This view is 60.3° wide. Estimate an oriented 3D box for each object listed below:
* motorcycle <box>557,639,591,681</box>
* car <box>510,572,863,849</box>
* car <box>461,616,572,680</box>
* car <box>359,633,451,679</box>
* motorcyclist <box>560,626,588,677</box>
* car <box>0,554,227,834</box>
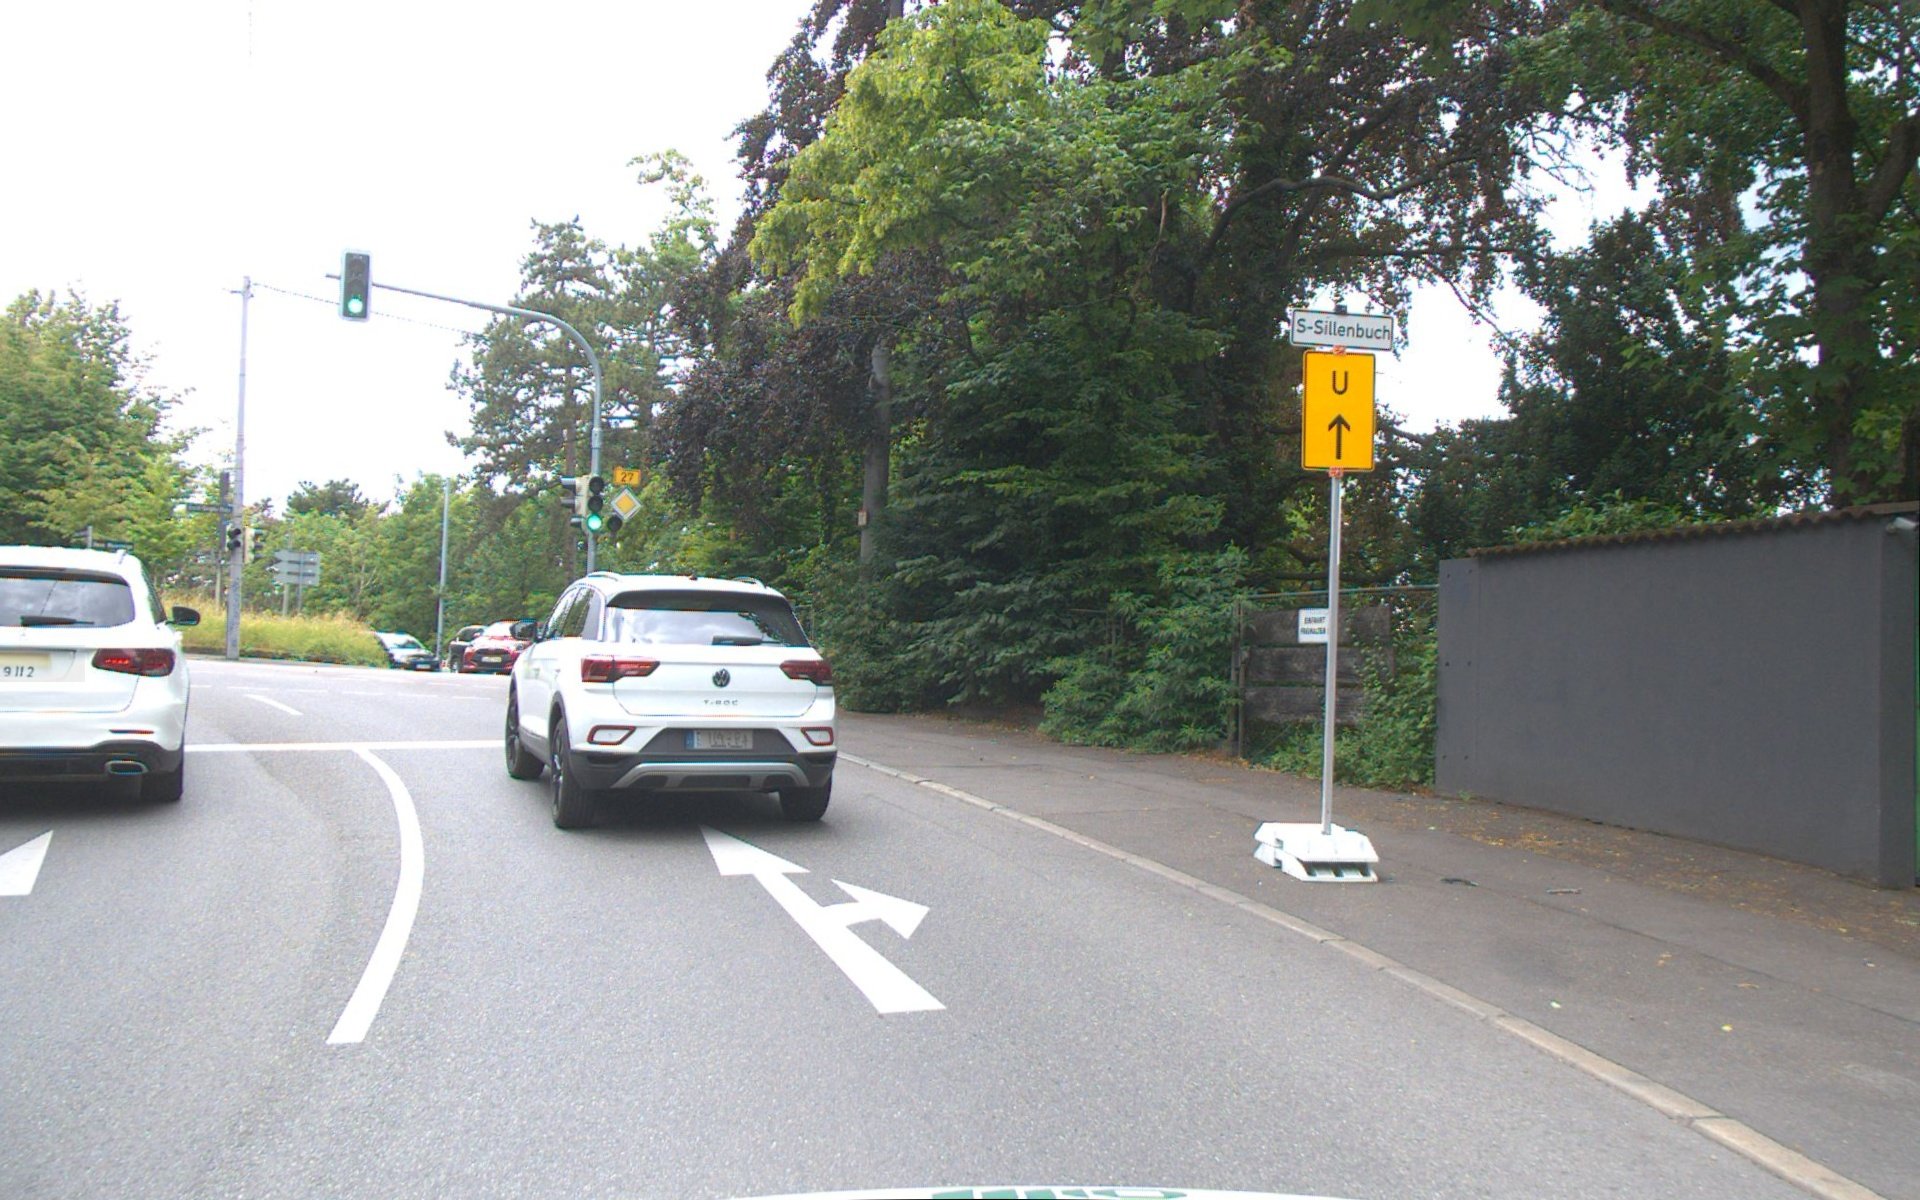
[{"bbox_3d":[-11.041,1.725,47.360,0.586,1.173,1.581,1,-2,0],"label":"motorcycle"},{"bbox_3d":[-2.125,0.609,11.753,1.729,1.580,4.312,0,0,-20],"label":"car"},{"bbox_3d":[-11.386,1.286,42.702,1.633,1.494,3.955,1,-4,2],"label":"car"},{"bbox_3d":[-19.362,1.981,57.647,1.705,1.512,3.942,4,-5,-39],"label":"car"},{"bbox_3d":[-11.046,1.467,47.319,0.587,1.455,0.757,1,-2,0],"label":"motorcyclist"},{"bbox_3d":[-6.363,0.495,11.835,1.833,1.633,4.641,0,1,-22],"label":"car"}]
